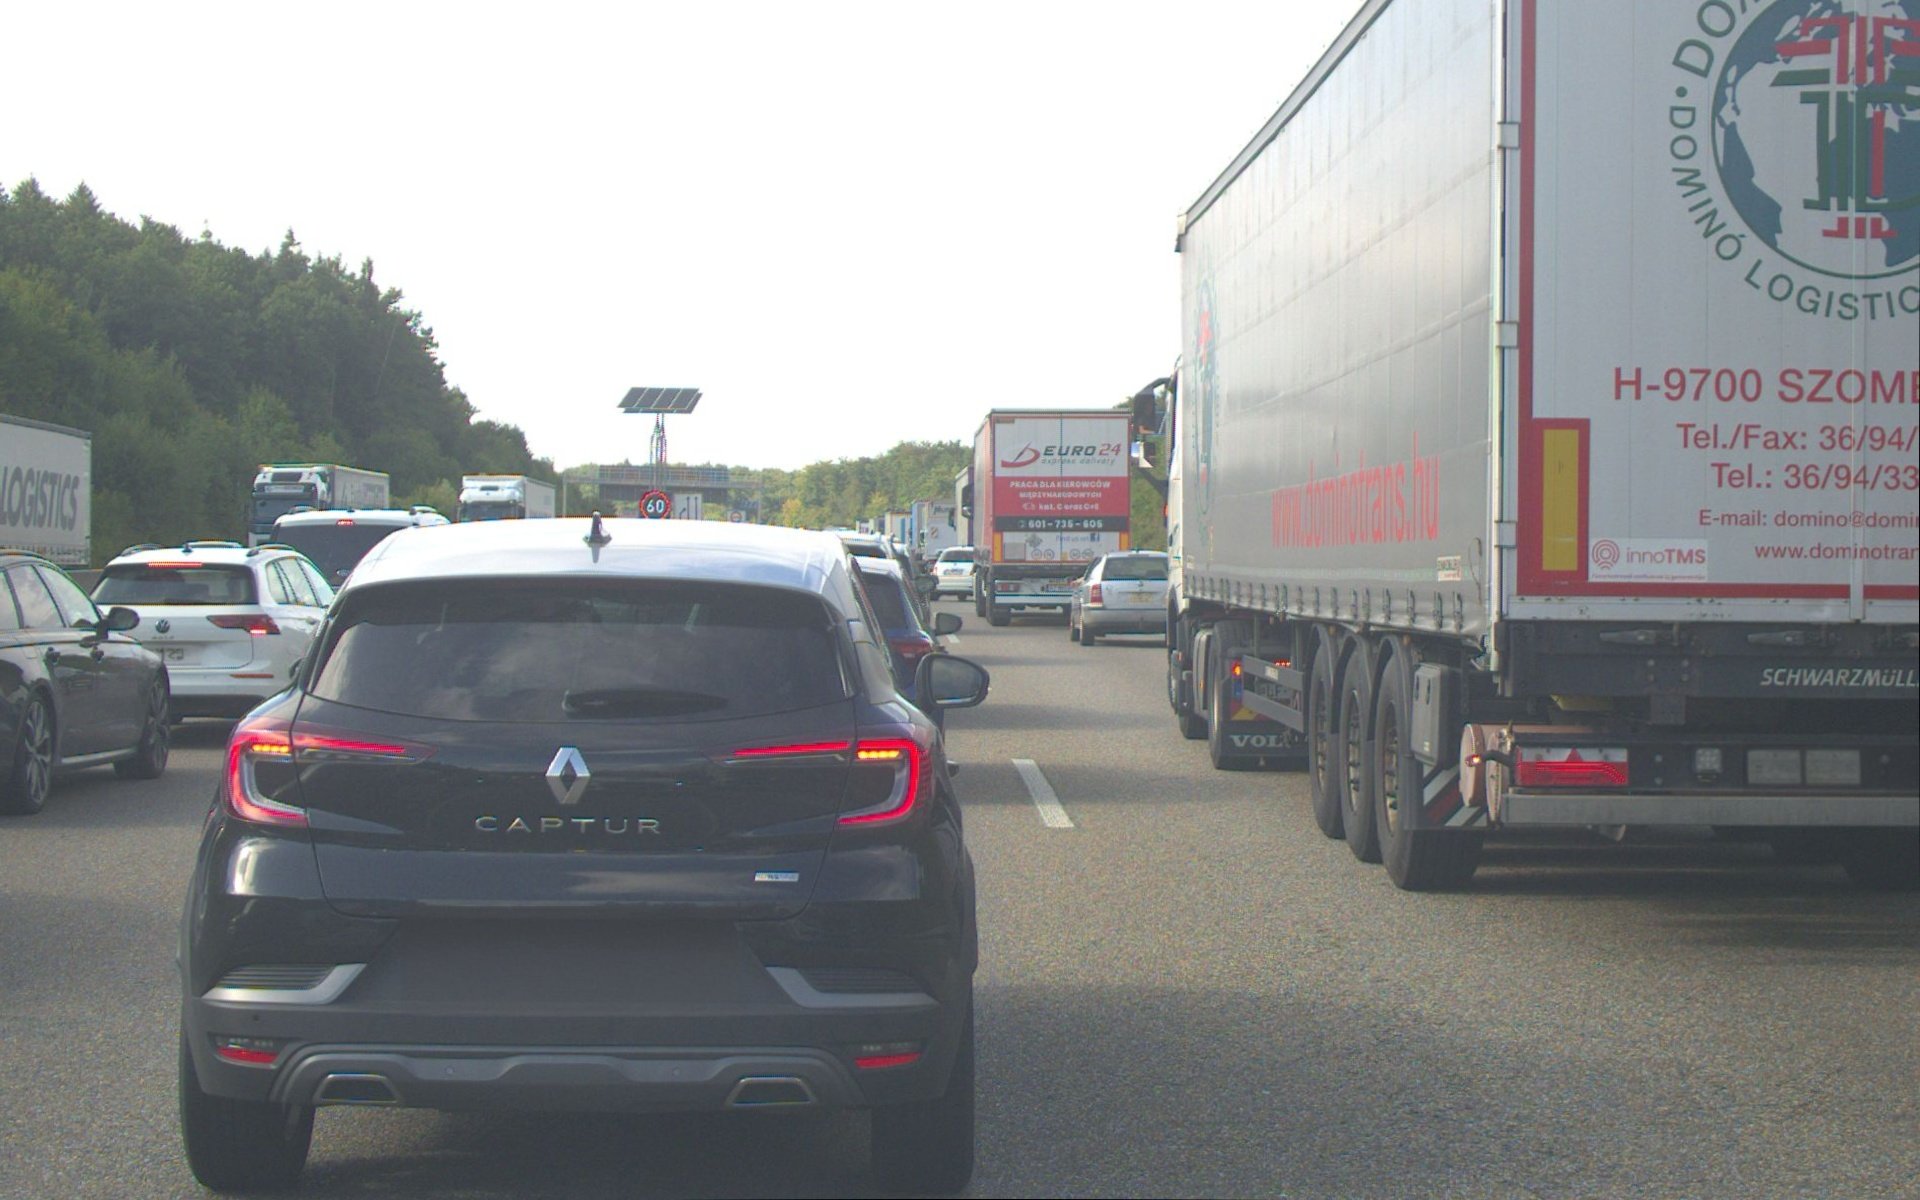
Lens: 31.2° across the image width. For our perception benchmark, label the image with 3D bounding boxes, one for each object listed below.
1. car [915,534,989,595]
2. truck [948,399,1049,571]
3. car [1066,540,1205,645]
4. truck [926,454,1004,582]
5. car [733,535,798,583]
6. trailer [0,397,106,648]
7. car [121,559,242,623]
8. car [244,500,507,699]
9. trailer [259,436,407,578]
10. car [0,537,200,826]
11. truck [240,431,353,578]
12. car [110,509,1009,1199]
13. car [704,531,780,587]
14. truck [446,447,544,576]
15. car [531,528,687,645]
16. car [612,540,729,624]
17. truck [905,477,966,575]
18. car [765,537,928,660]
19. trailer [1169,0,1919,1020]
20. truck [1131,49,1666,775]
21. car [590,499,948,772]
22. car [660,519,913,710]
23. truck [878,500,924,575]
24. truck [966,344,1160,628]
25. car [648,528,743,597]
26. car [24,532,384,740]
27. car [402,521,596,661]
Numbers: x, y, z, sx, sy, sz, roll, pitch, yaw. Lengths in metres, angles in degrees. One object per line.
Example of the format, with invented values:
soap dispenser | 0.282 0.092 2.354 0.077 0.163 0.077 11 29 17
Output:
car | -0.223 -1.001 95.339 1.993 1.607 4.000 1 1 0
truck | 1.234 -3.770 117.234 3.166 5.486 12.737 1 0 0
car | 2.653 -0.132 52.784 1.804 1.527 3.926 1 0 -2
truck | 0.301 -3.614 155.352 3.167 5.486 12.737 1 0 1
car | -6.658 -1.409 117.878 1.993 1.607 4.000 1 1 0
trailer | -21.739 -1.676 74.820 3.042 5.262 13.836 1 0 -1
car | -18.383 -0.227 81.344 1.954 1.423 4.324 1 1 -1
car | -5.624 -0.023 33.575 1.911 1.783 4.418 1 0 -2
trailer | -22.639 -3.262 124.956 2.927 4.813 14.655 1 0 -1
car | -5.810 0.368 19.771 1.843 1.451 4.748 1 1 0
truck | -22.511 -3.208 116.894 2.931 4.842 4.766 1 0 -1
car | -0.804 0.563 9.100 1.805 1.547 4.000 0 1 2
car | -6.478 -1.242 102.541 1.993 1.607 4.000 1 1 0
truck | -19.015 -3.561 140.941 3.088 5.083 7.142 1 0 -1
car | -5.383 -0.220 53.132 1.993 1.716 4.000 1 0 0
car | -5.748 -0.365 68.681 1.993 1.607 4.000 1 0 0
truck | -1.323 -4.010 189.911 3.166 5.142 12.737 1 0 0
car | -1.430 -0.035 44.819 1.993 1.509 4.000 1 0 0
trailer | 3.141 -1.101 17.632 3.002 4.645 13.291 1 1 -1
truck | 2.974 -1.265 25.155 2.997 4.651 5.940 1 1 -1
car | -1.087 0.181 21.367 1.993 1.509 4.000 1 0 0
car | -1.428 0.100 29.790 1.993 1.509 4.000 1 0 0
truck | -4.444 -4.691 260.395 3.166 5.486 12.737 1 0 0
truck | 1.849 -2.098 67.769 3.365 5.027 12.737 1 0 0
car | -6.384 -0.925 83.296 1.993 1.607 4.000 1 1 0
car | -5.729 0.235 26.559 1.804 1.456 4.308 1 1 0
car | -5.670 -0.123 42.723 1.855 1.635 3.926 1 0 0
